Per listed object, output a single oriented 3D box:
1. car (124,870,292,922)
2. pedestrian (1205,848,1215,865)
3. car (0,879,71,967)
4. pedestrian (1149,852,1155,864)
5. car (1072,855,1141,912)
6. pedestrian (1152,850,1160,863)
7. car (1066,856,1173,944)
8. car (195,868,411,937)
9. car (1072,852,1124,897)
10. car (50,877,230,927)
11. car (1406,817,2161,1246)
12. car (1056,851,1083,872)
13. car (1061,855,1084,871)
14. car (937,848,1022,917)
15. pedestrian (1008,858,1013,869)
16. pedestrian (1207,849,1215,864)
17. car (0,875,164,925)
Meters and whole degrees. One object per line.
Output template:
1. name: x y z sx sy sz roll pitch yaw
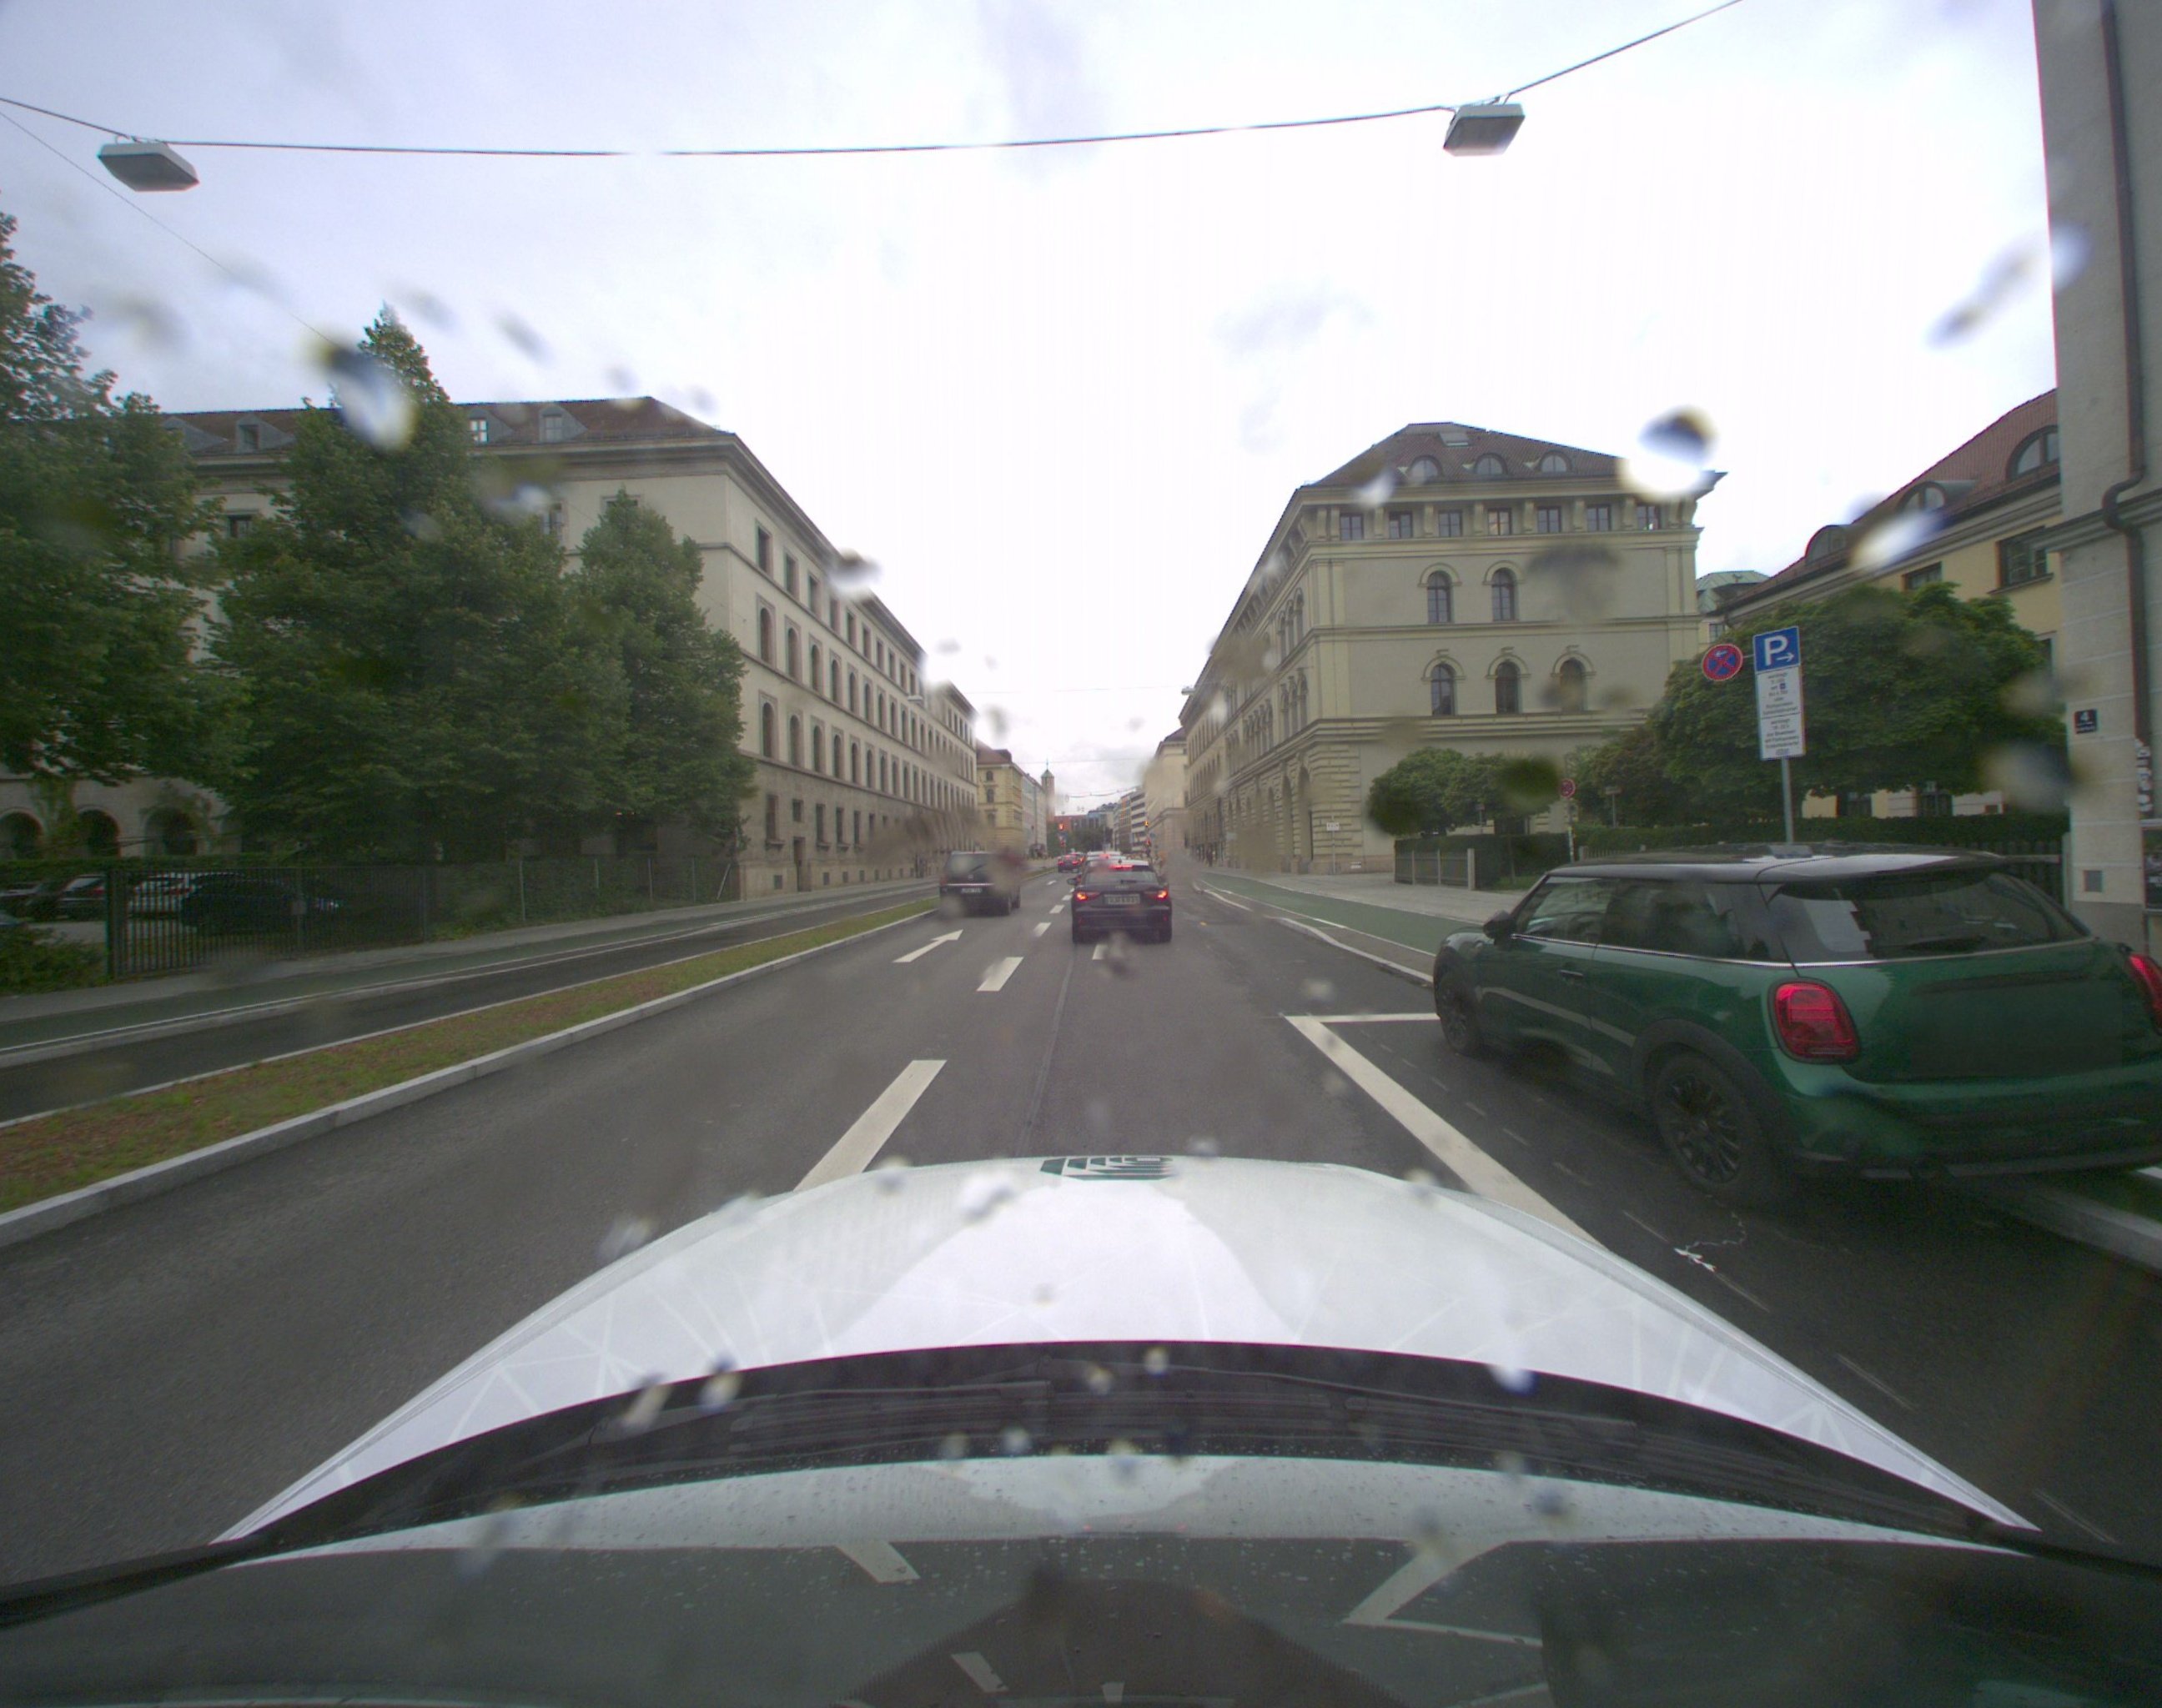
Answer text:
1. car: -31.309 1.463 29.390 1.658 1.640 4.002 -2 0 2
2. pedestrian: 11.949 0.223 75.501 0.707 1.618 0.754 -2 0 1
3. car: -22.108 1.376 15.431 4.122 1.588 1.809 -2 0 8
4. pedestrian: 9.428 0.510 108.428 0.747 1.618 0.714 -2 0 10
5. car: 0.712 0.747 22.454 1.723 1.403 4.002 -1 0 2
6. pedestrian: 9.844 0.310 106.311 0.714 1.618 0.747 -2 0 -28
7. car: 0.694 0.752 15.305 1.723 1.403 4.002 -1 0 2
8. car: -21.525 1.317 22.655 4.246 1.649 1.805 -2 0 1
9. car: 0.621 0.668 28.734 1.723 1.461 4.002 -1 0 2
10. car: -33.867 1.673 29.488 1.764 1.544 4.001 -2 0 1
11. car: 3.445 0.630 4.816 1.668 1.521 3.832 -1 0 3
12. car: -0.937 0.624 69.501 1.986 1.627 4.002 -2 0 2
13. car: -0.778 0.808 77.805 1.986 1.444 4.002 -2 0 2
14. car: -2.568 0.678 21.514 1.759 1.616 4.028 -1 0 -1
15. pedestrian: -11.554 1.610 133.466 0.653 1.805 0.727 -2 0 1
16. pedestrian: 13.764 0.275 86.526 0.707 1.618 0.754 -2 0 1
17. car: -36.340 1.625 29.435 1.764 1.544 4.001 -2 0 1
